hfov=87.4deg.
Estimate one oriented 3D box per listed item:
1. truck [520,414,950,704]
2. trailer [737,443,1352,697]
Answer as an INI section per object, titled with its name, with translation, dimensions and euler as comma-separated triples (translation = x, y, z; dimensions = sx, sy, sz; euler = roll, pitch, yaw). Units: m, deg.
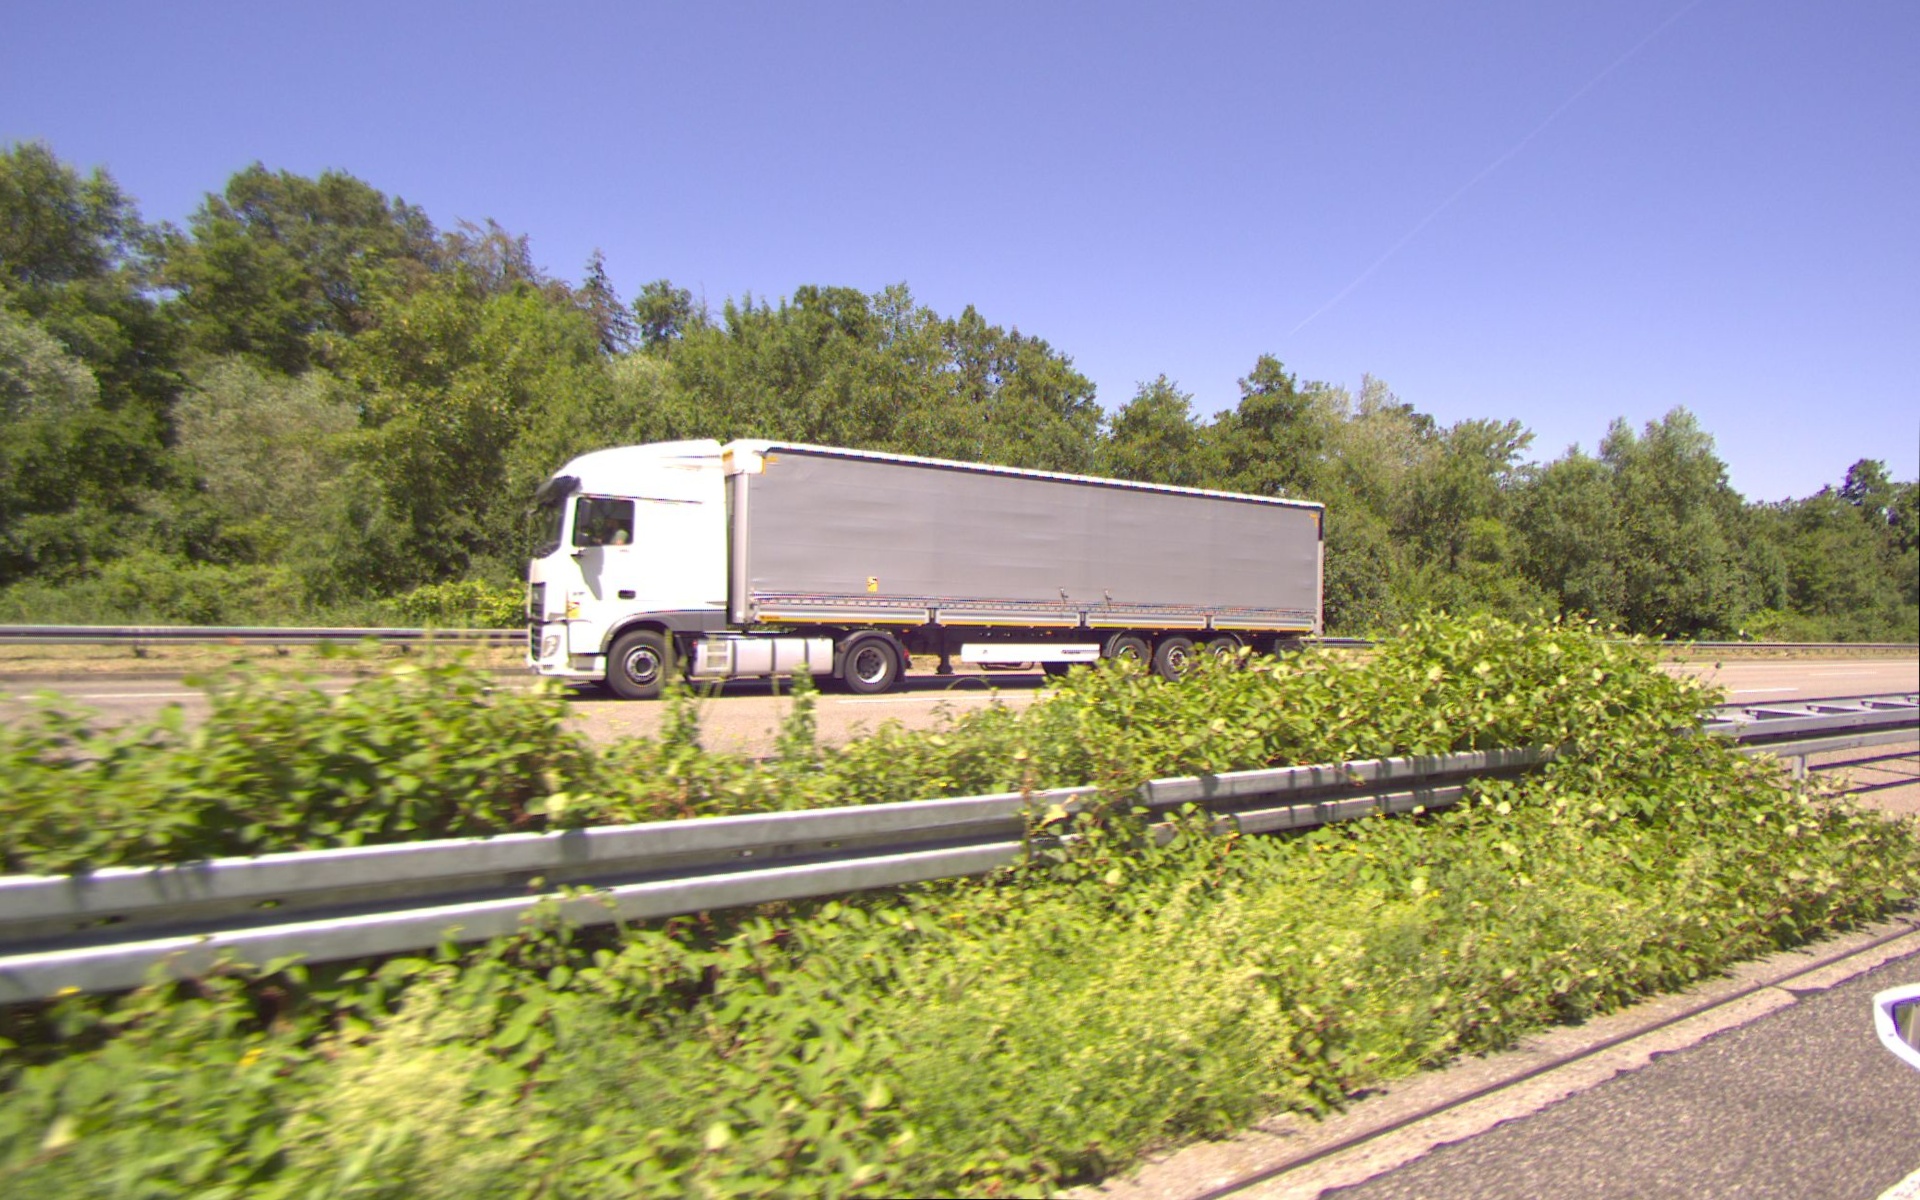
[truck]
translation = -3.653, -0.499, 16.832
dimensions = 6.479, 4.038, 2.647
euler = 2, 0, -31
[trailer]
translation = 2.445, -0.308, 20.508
dimensions = 13.508, 4.018, 2.657
euler = 2, 0, -31
